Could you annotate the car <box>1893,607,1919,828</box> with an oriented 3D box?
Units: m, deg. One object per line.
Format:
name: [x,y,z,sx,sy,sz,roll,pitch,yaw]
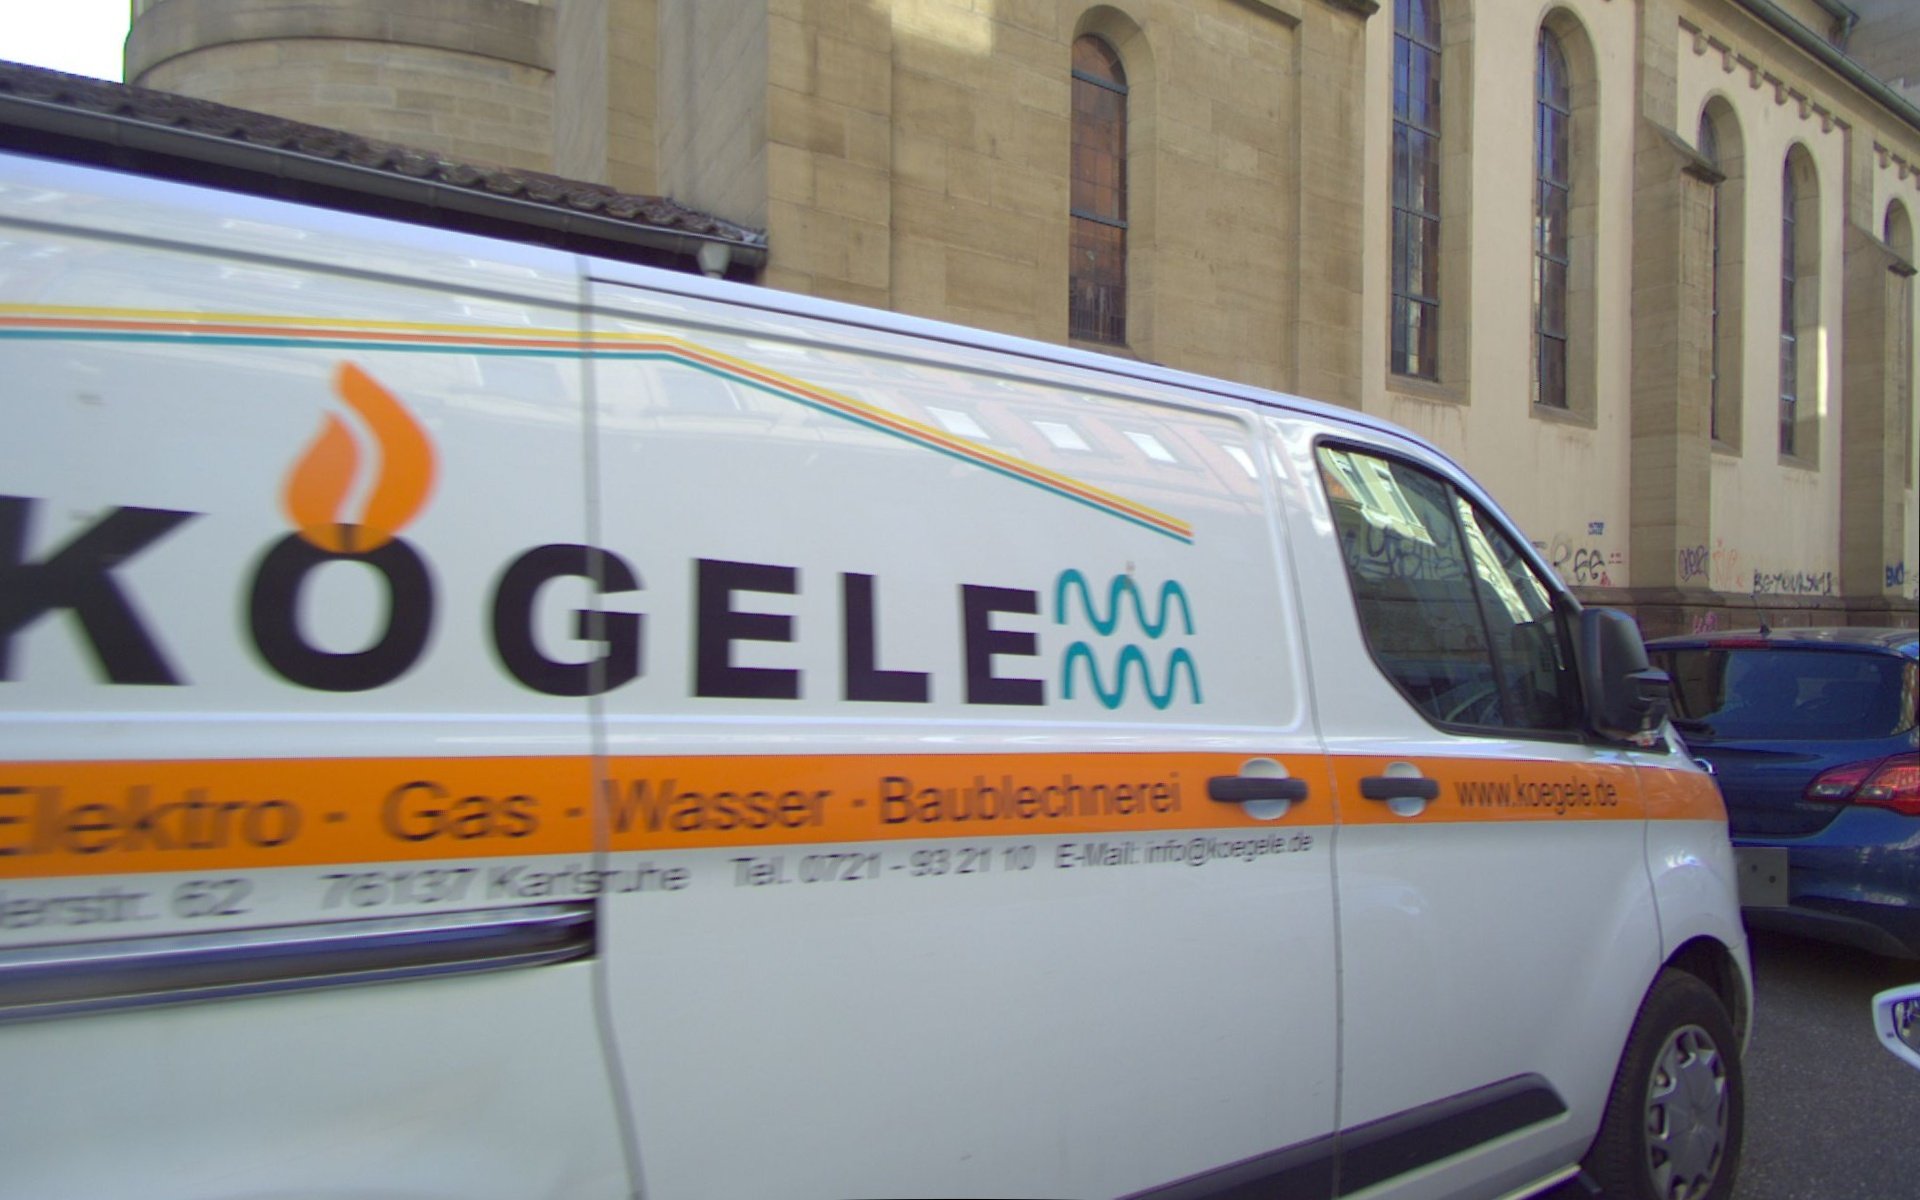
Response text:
car: [8.898,0.844,7.603,3.954,1.579,1.664,1,-2,-31]

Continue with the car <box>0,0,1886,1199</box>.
car: [0.039,0.538,2.321,4.557,1.983,1.855,1,-2,-31]

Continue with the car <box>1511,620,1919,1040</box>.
car: [4.726,0.856,5.093,3.904,1.471,1.608,1,-3,-30]
